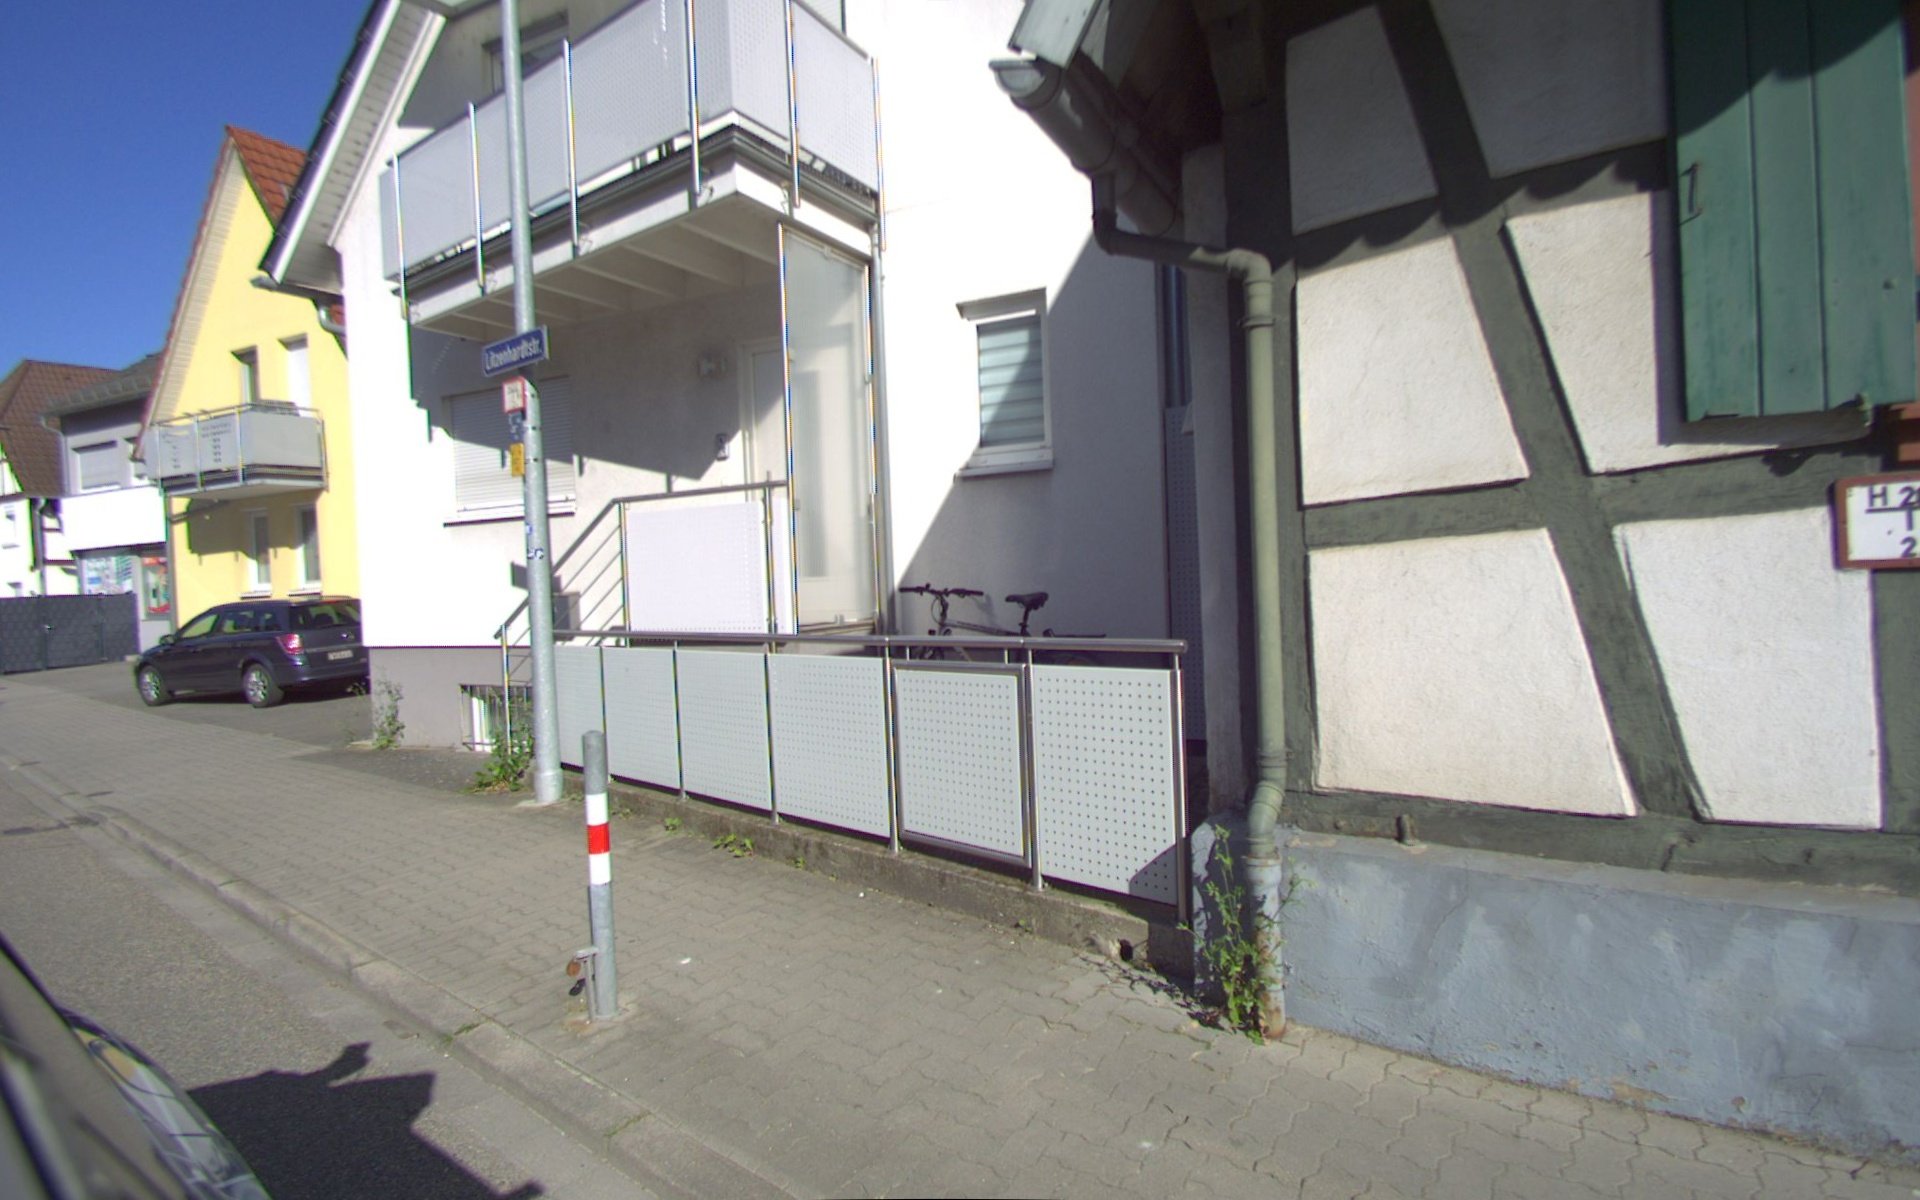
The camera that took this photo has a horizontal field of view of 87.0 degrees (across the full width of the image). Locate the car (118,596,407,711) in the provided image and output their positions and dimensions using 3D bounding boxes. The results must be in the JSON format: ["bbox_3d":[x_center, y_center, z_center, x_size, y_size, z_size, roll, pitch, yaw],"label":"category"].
[{"bbox_3d":[-10.470,0.784,15.167,4.153,1.456,1.680,-2,2,26],"label":"car"}]

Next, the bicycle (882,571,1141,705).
[{"bbox_3d":[0.293,0.225,6.158,1.497,0.722,0.485,-2,2,32],"label":"bicycle"}]
